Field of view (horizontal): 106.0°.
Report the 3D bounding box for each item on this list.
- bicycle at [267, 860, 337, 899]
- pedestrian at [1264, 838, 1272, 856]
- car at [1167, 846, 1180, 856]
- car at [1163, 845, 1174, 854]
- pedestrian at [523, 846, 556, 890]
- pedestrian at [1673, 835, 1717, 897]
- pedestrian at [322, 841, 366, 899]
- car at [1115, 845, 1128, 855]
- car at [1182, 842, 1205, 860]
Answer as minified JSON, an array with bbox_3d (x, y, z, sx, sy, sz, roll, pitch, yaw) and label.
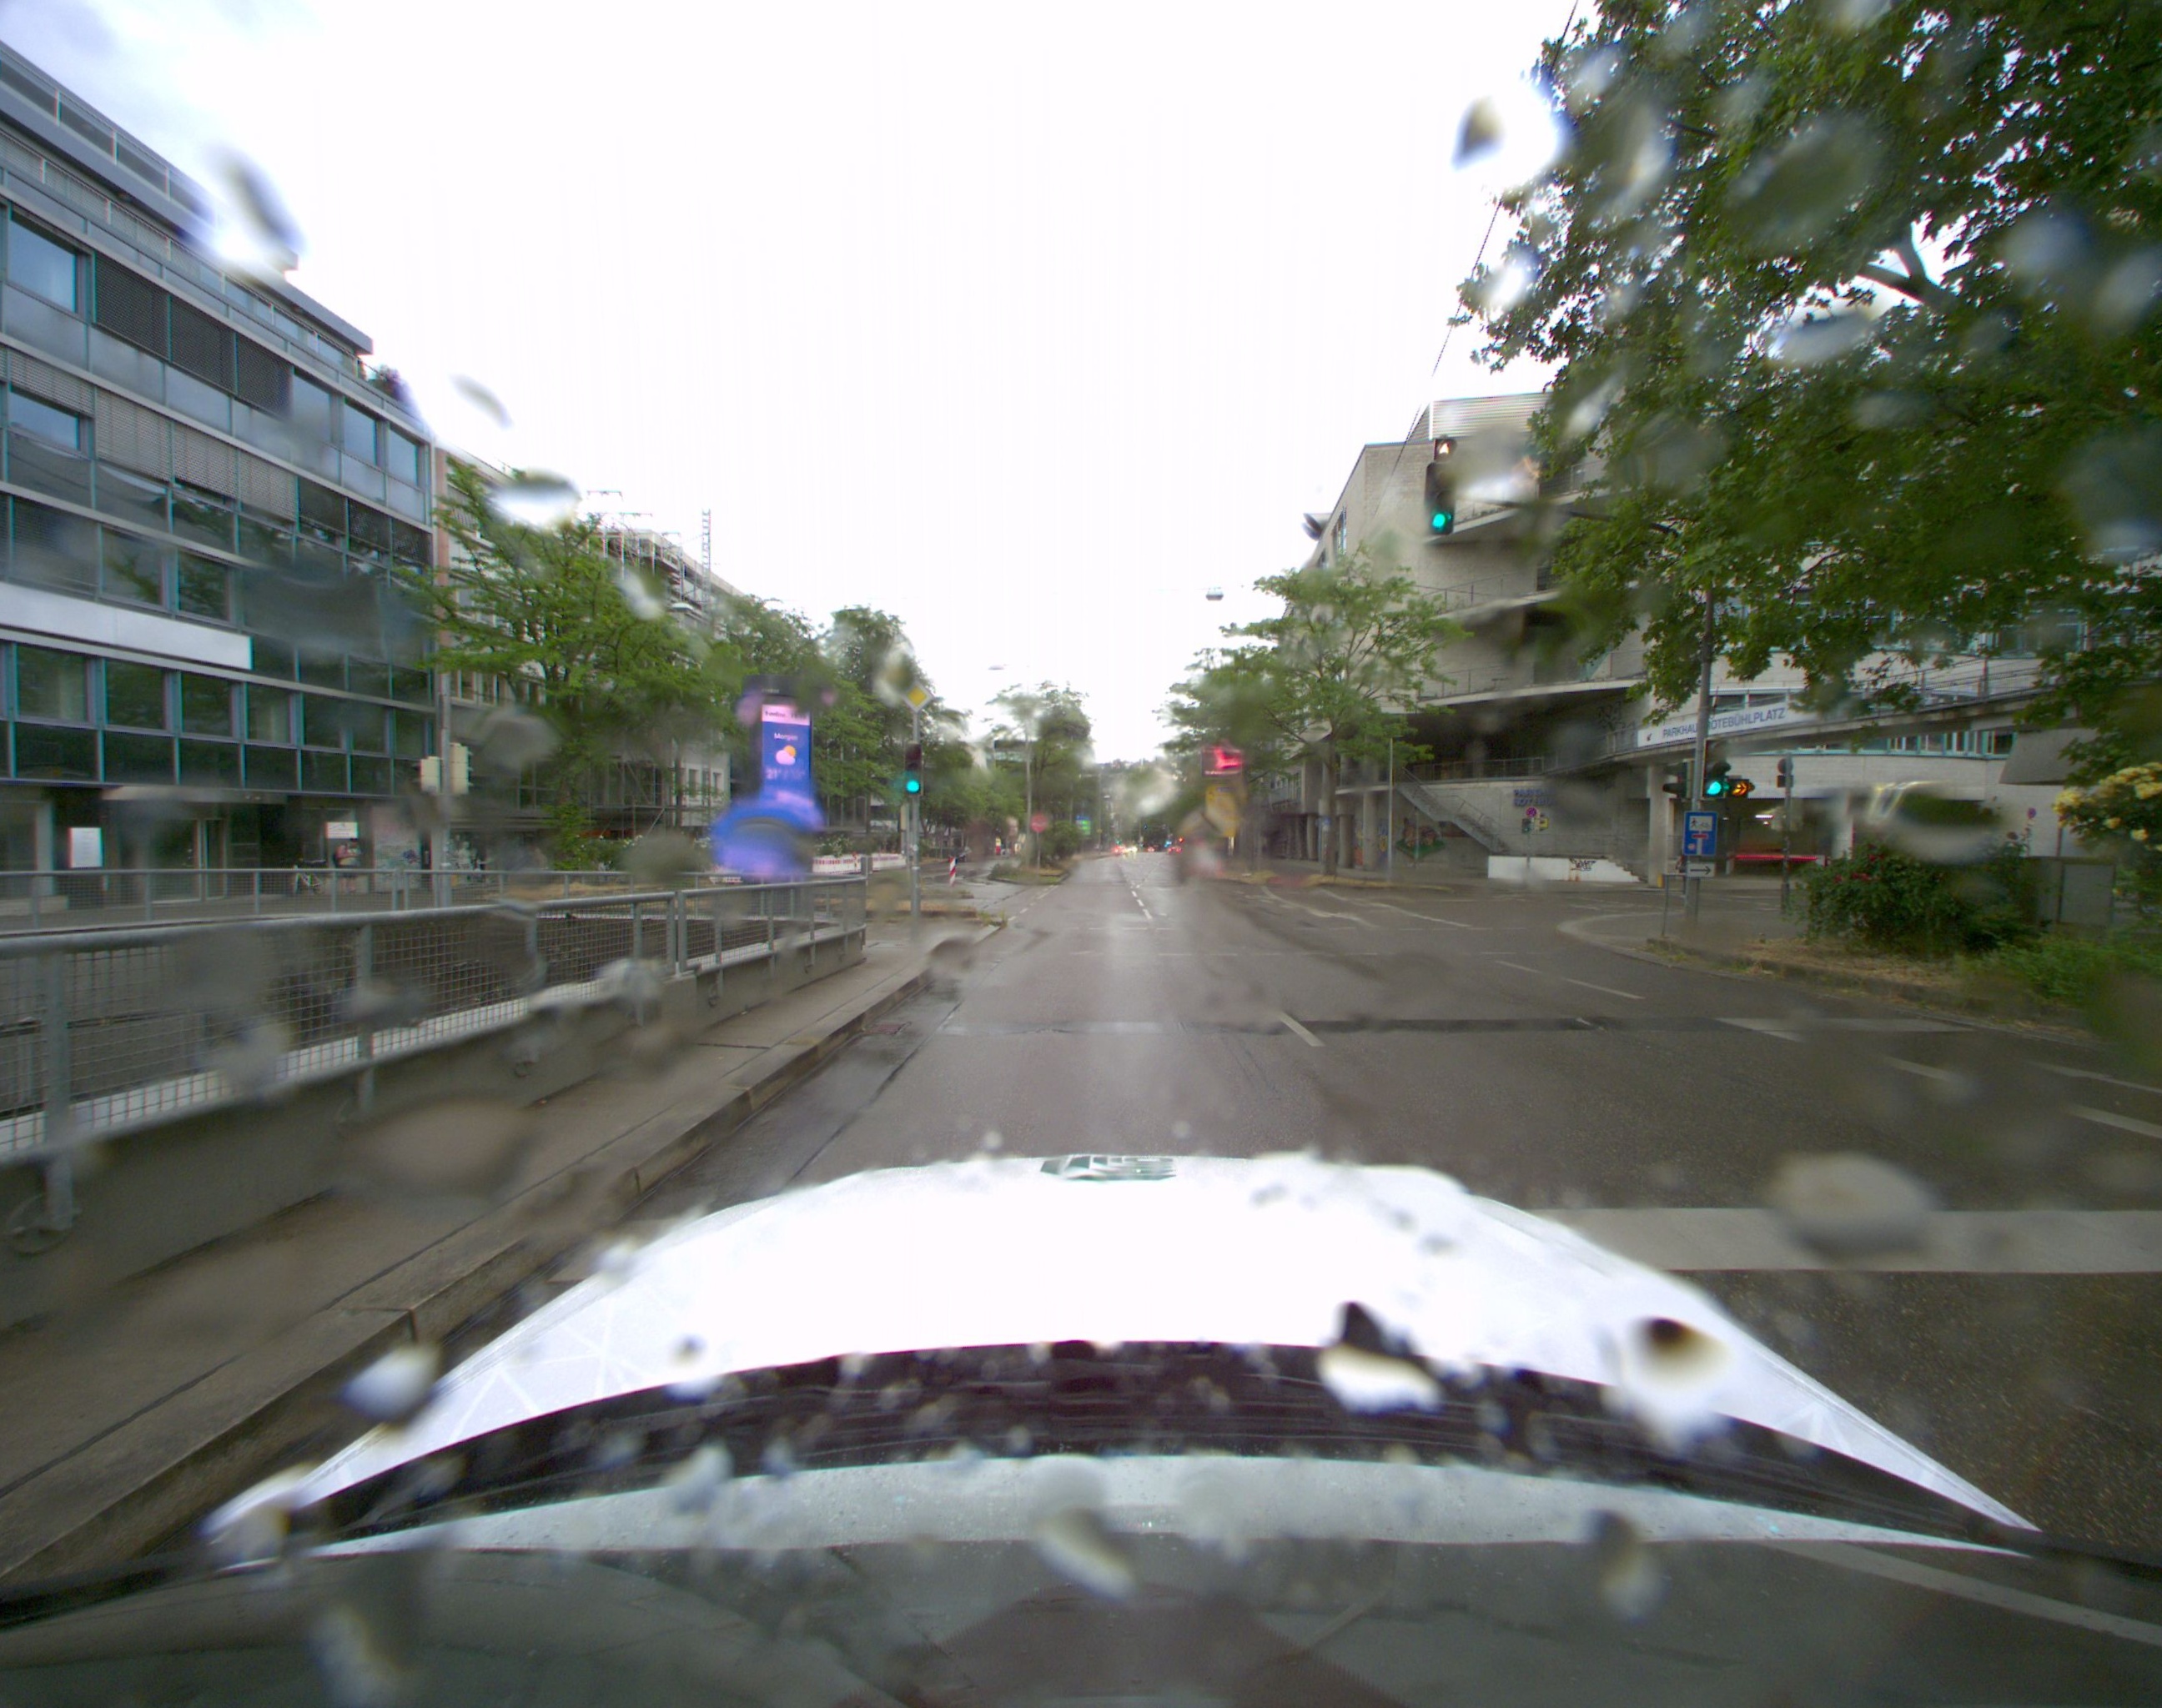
[{"bbox_3d":[-22.956,0.731,24.030,0.444,1.085,1.567,0,0,6],"label":"bicycle"},{"bbox_3d":[20.593,-0.777,89.697,0.770,1.920,0.705,-1,-1,11],"label":"pedestrian"},{"bbox_3d":[17.638,-0.579,155.463,1.986,1.723,4.001,0,-1,1],"label":"car"},{"bbox_3d":[17.867,-0.862,166.635,1.986,1.736,4.001,0,-1,2],"label":"car"},{"bbox_3d":[-21.791,0.542,32.787,0.691,1.741,0.876,1,0,-1],"label":"pedestrian"},{"bbox_3d":[19.374,0.371,25.715,0.843,1.910,0.758,0,0,1],"label":"pedestrian"},{"bbox_3d":[-22.810,0.492,25.230,0.694,1.741,0.694,1,0,-4],"label":"pedestrian"},{"bbox_3d":[6.679,-0.620,133.932,1.820,1.640,4.306,1,0,5],"label":"car"},{"bbox_3d":[11.538,-0.315,83.334,2.324,1.691,4.010,0,0,9],"label":"car"}]
